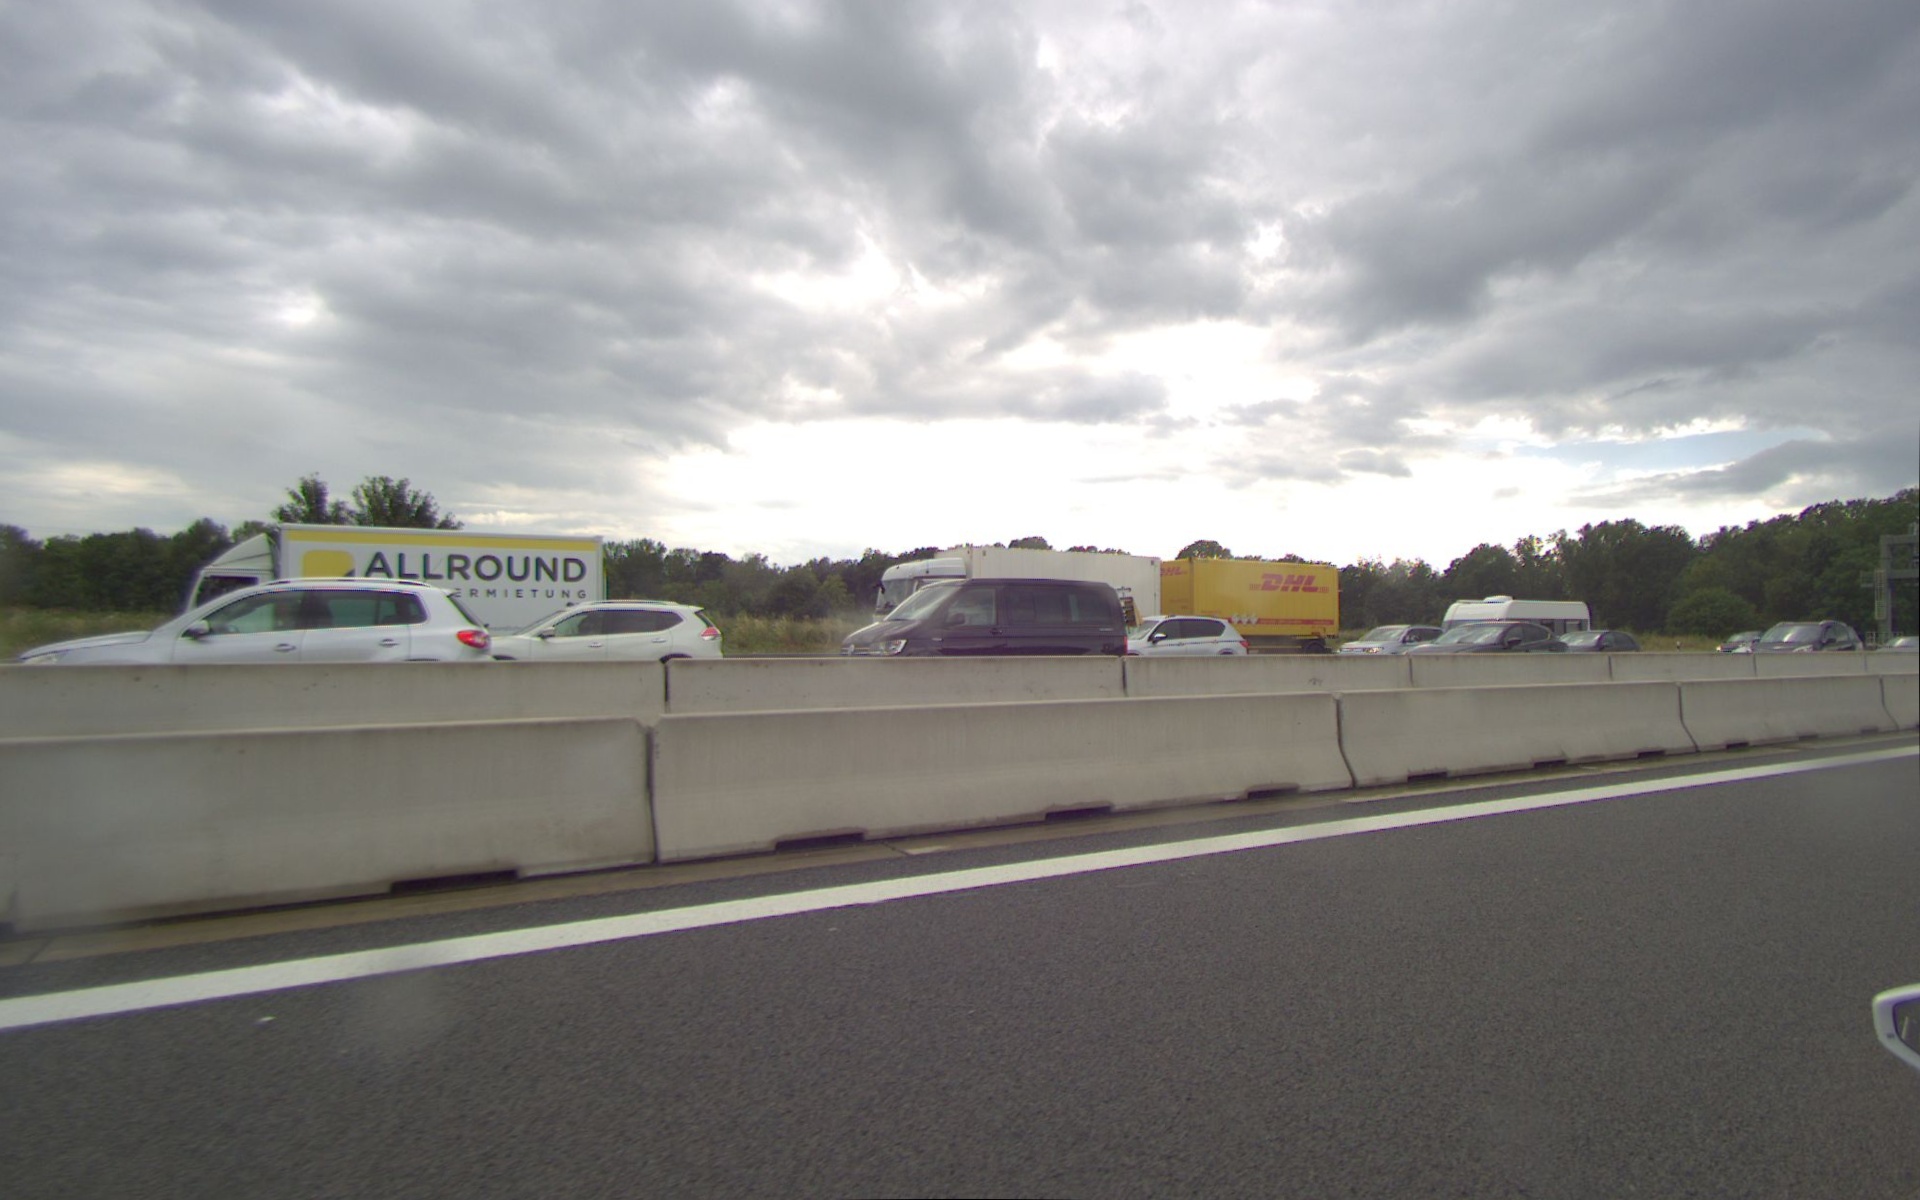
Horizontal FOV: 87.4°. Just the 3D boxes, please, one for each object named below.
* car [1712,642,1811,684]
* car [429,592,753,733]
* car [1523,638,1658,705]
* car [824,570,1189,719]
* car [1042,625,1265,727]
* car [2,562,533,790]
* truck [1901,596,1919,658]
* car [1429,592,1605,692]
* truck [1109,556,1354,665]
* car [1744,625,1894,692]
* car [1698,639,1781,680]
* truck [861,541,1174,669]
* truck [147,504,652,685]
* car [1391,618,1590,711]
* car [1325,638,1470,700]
[{"bbox_3d":[36.459,2.840,45.665,4.644,1.737,1.984,1,0,-30],"label":"car"},{"bbox_3d":[-6.038,0.951,16.577,4.757,2.040,1.984,1,0,-30],"label":"car"},{"bbox_3d":[19.838,2.188,31.598,3.953,1.929,1.984,1,0,-30],"label":"car"},{"bbox_3d":[0.849,0.659,16.076,5.691,2.040,1.984,1,0,-31],"label":"car"},{"bbox_3d":[4.366,1.611,22.440,4.757,2.040,1.984,1,0,-30],"label":"car"},{"bbox_3d":[-7.153,0.725,10.955,4.373,2.040,1.984,1,0,-30],"label":"car"},{"bbox_3d":[66.524,1.825,67.472,6.158,4.111,3.205,1,0,-30],"label":"truck"},{"bbox_3d":[20.097,1.471,36.153,6.487,3.321,2.647,1,0,-31],"label":"car"},{"bbox_3d":[10.165,0.451,37.163,9.465,3.660,2.865,1,0,-30],"label":"truck"},{"bbox_3d":[25.567,1.691,29.878,4.618,1.805,1.984,1,0,-30],"label":"car"},{"bbox_3d":[42.034,3.183,54.158,4.488,2.040,1.984,1,0,-30],"label":"car"},{"bbox_3d":[2.051,0.258,32.563,10.187,3.660,2.865,1,0,-30],"label":"truck"},{"bbox_3d":[-11.731,-0.003,22.060,9.093,3.334,2.896,1,0,-30],"label":"truck"},{"bbox_3d":[11.336,1.319,21.442,3.953,1.773,1.984,1,0,-30],"label":"car"},{"bbox_3d":[14.004,2.141,32.102,4.655,1.795,1.864,1,0,-30],"label":"car"}]
